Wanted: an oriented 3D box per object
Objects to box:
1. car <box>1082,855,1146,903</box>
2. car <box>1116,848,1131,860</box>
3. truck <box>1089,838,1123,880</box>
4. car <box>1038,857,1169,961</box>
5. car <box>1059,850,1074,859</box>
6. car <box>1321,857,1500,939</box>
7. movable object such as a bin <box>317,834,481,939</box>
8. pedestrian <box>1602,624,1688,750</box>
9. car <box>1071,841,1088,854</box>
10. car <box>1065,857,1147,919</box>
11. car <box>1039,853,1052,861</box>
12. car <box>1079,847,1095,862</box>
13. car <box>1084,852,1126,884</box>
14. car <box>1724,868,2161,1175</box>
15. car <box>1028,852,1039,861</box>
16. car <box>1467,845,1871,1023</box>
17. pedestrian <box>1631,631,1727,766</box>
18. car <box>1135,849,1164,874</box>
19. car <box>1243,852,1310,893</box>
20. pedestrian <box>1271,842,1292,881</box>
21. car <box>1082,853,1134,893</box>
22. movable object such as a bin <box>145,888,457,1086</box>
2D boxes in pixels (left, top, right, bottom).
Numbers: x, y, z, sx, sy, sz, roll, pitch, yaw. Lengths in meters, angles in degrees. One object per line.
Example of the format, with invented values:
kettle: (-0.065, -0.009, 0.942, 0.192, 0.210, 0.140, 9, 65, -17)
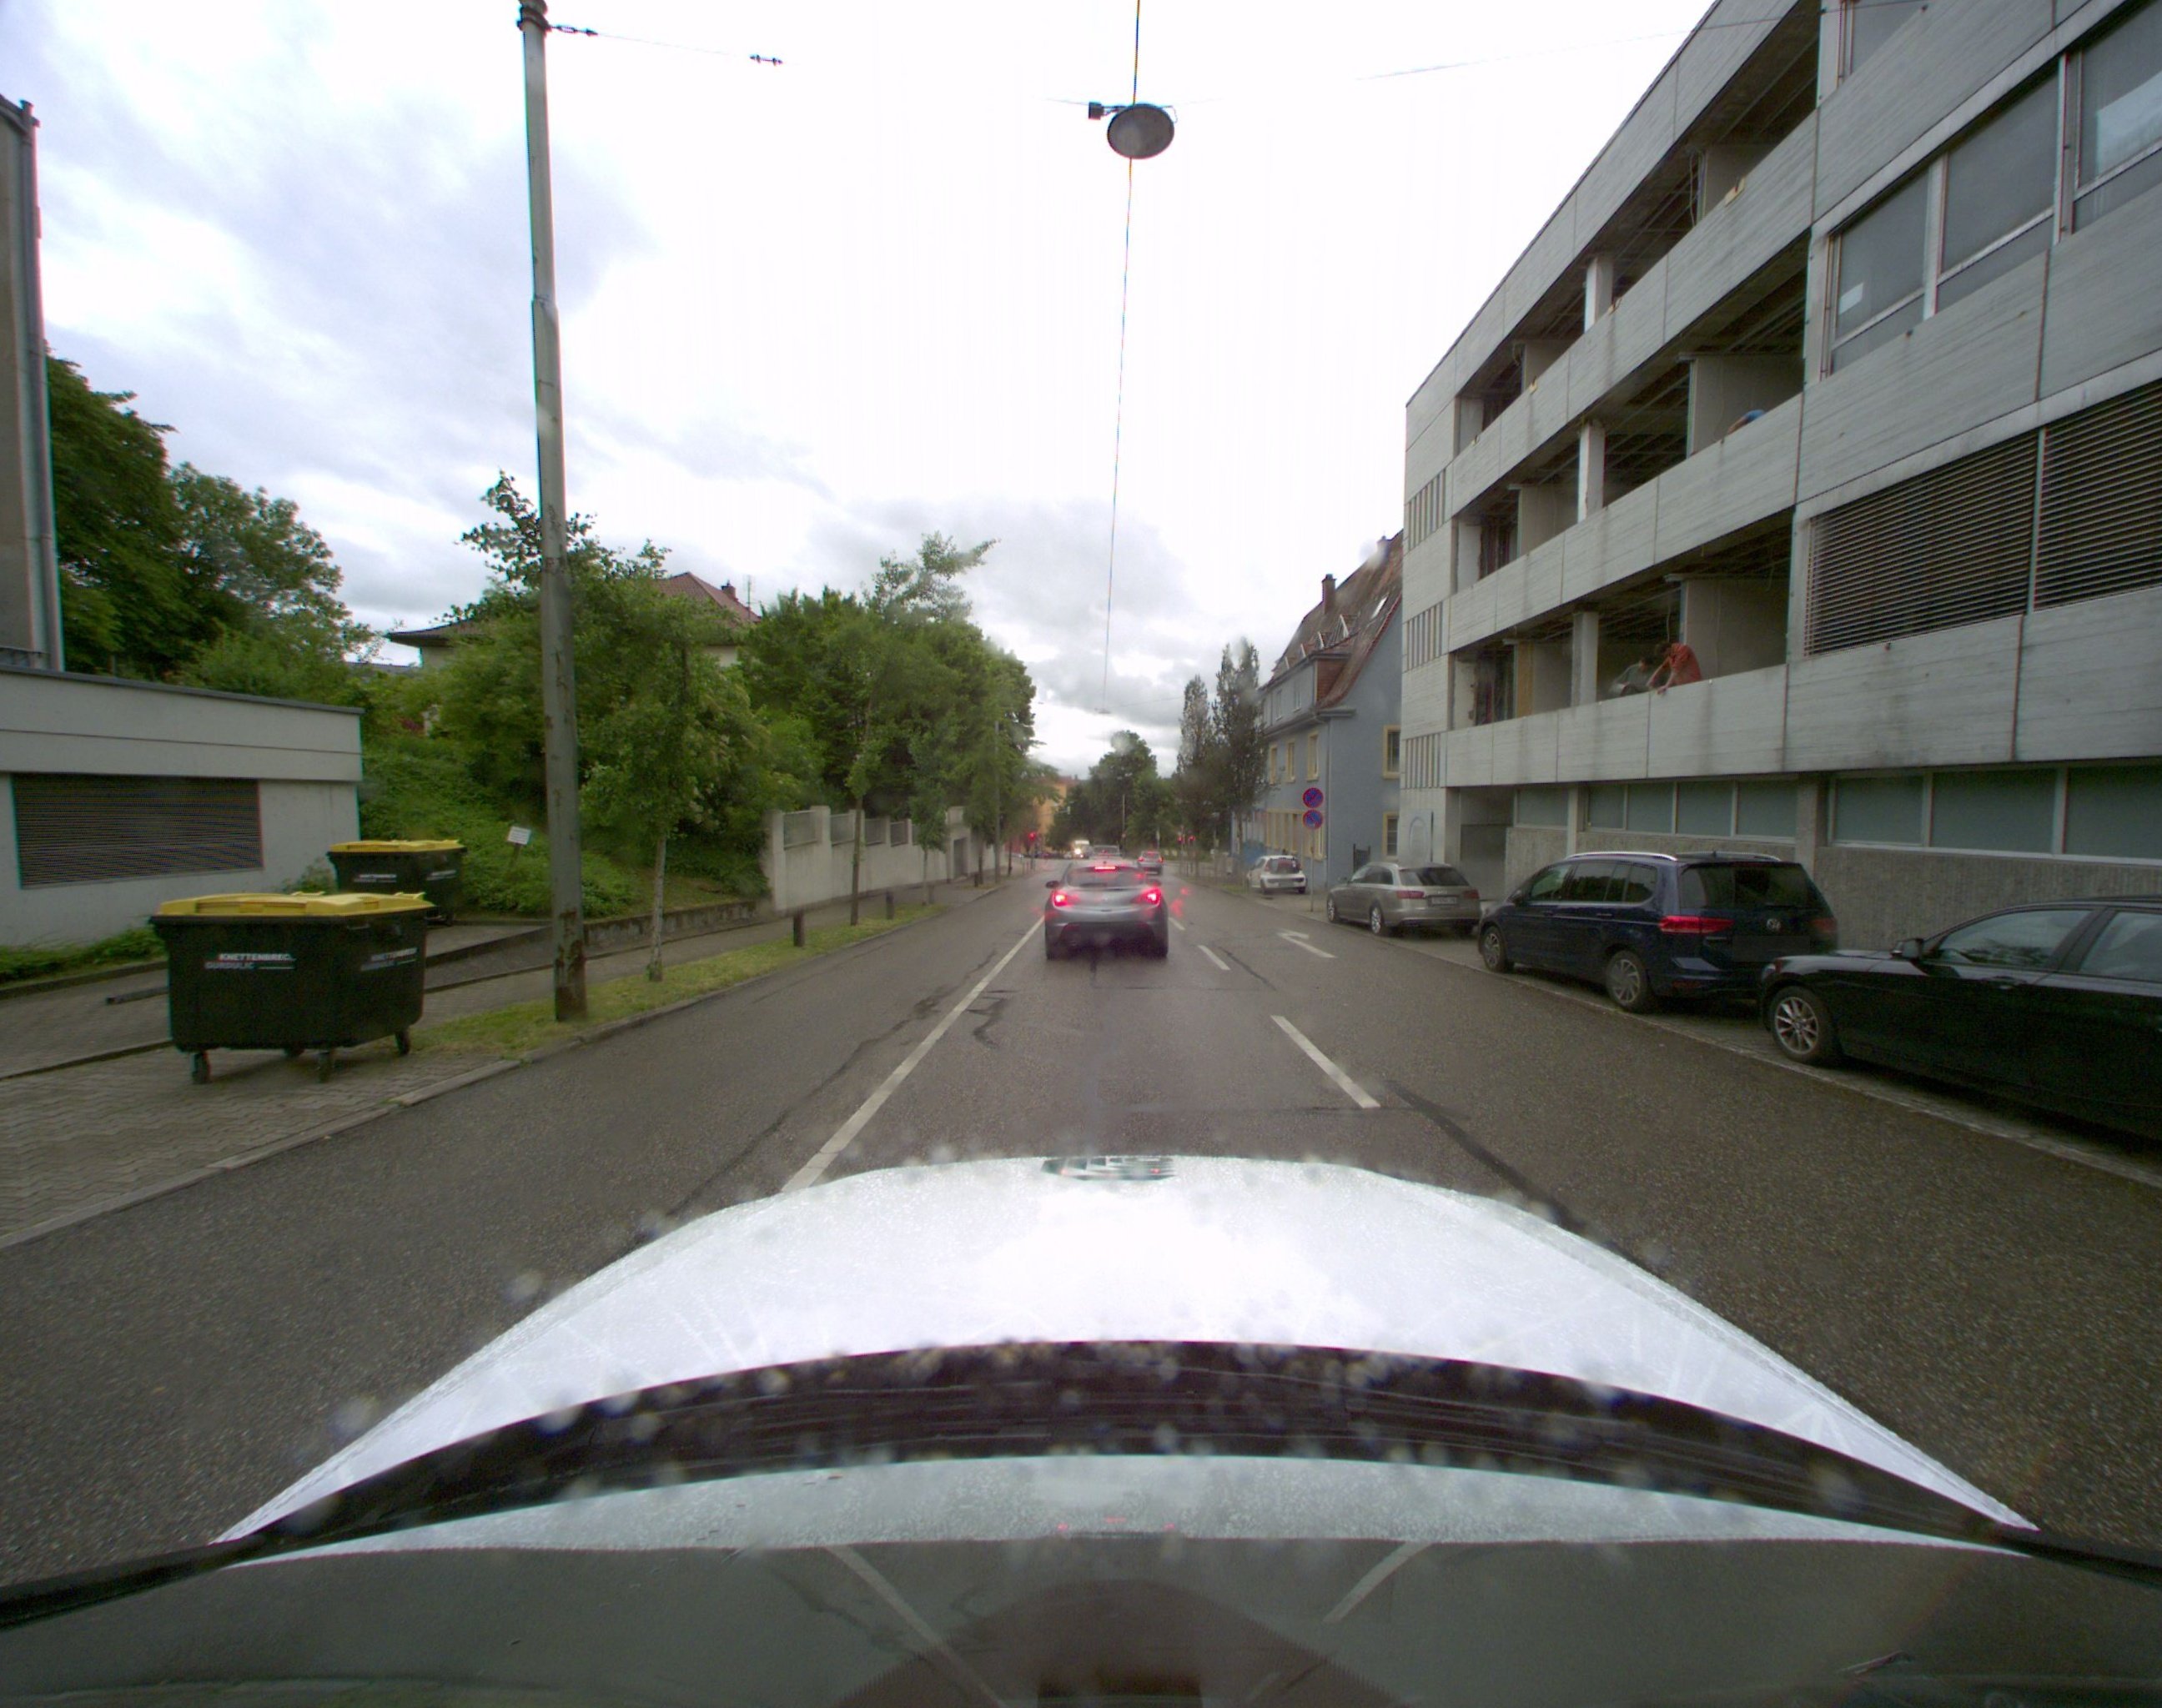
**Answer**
car: (1.057, 0.791, 27.519, 1.955, 1.448, 4.305, 1, 0, 0)
car: (5.794, 0.030, 112.329, 1.718, 1.638, 3.877, -1, 0, -2)
truck: (1.489, 0.268, 50.569, 1.955, 2.429, 4.936, 1, 0, 1)
car: (0.309, 0.774, 13.346, 1.831, 1.434, 3.879, 0, 0, 0)
car: (-2.619, 0.117, 142.973, 1.726, 1.543, 3.858, -1, 0, -16)
car: (6.691, 0.813, 17.147, 1.956, 1.448, 4.526, -1, 0, 0)
movable object such as a bin: (-9.958, 0.443, 11.983, 1.296, 1.363, 1.225, 0, 6, -5)
pedestrian: (9.807, -2.878, 14.192, 0.904, 2.014, 0.861, 0, -1, 1)
car: (-0.196, -0.845, 103.804, 1.721, 1.638, 3.870, -1, 0, -7)
car: (0.634, 0.825, 21.802, 1.955, 1.448, 4.305, 1, 0, 0)
car: (-7.015, 0.602, 161.843, 1.726, 1.638, 3.858, -1, 0, -16)
car: (0.737, 0.054, 96.135, 1.864, 1.638, 3.880, -1, 0, 0)
car: (1.171, 0.666, 40.567, 1.955, 1.448, 4.305, 1, 0, 0)
car: (6.309, 0.861, 4.904, 1.740, 1.448, 4.256, -1, 0, 4)
car: (-9.142, 0.480, 156.457, 1.722, 1.638, 3.867, 1, -1, -9)
car: (6.371, 0.731, 9.541, 1.723, 1.599, 4.160, -1, 0, 0)
pedestrian: (9.589, -2.467, 13.090, 0.904, 2.014, 0.861, 0, -1, 1)
car: (4.872, 0.529, 58.529, 1.717, 1.714, 3.879, -1, 0, 0)
car: (7.594, 0.681, 32.018, 1.717, 1.448, 3.880, -1, 0, 0)
pedestrian: (9.070, 0.320, 36.833, 0.780, 1.729, 0.651, 1, 0, 1)
car: (1.049, 0.713, 32.903, 1.955, 1.448, 4.305, 1, 0, 0)
movable object such as a bin: (-5.906, 0.949, 6.298, 1.296, 1.306, 1.153, 0, 1, -7)
